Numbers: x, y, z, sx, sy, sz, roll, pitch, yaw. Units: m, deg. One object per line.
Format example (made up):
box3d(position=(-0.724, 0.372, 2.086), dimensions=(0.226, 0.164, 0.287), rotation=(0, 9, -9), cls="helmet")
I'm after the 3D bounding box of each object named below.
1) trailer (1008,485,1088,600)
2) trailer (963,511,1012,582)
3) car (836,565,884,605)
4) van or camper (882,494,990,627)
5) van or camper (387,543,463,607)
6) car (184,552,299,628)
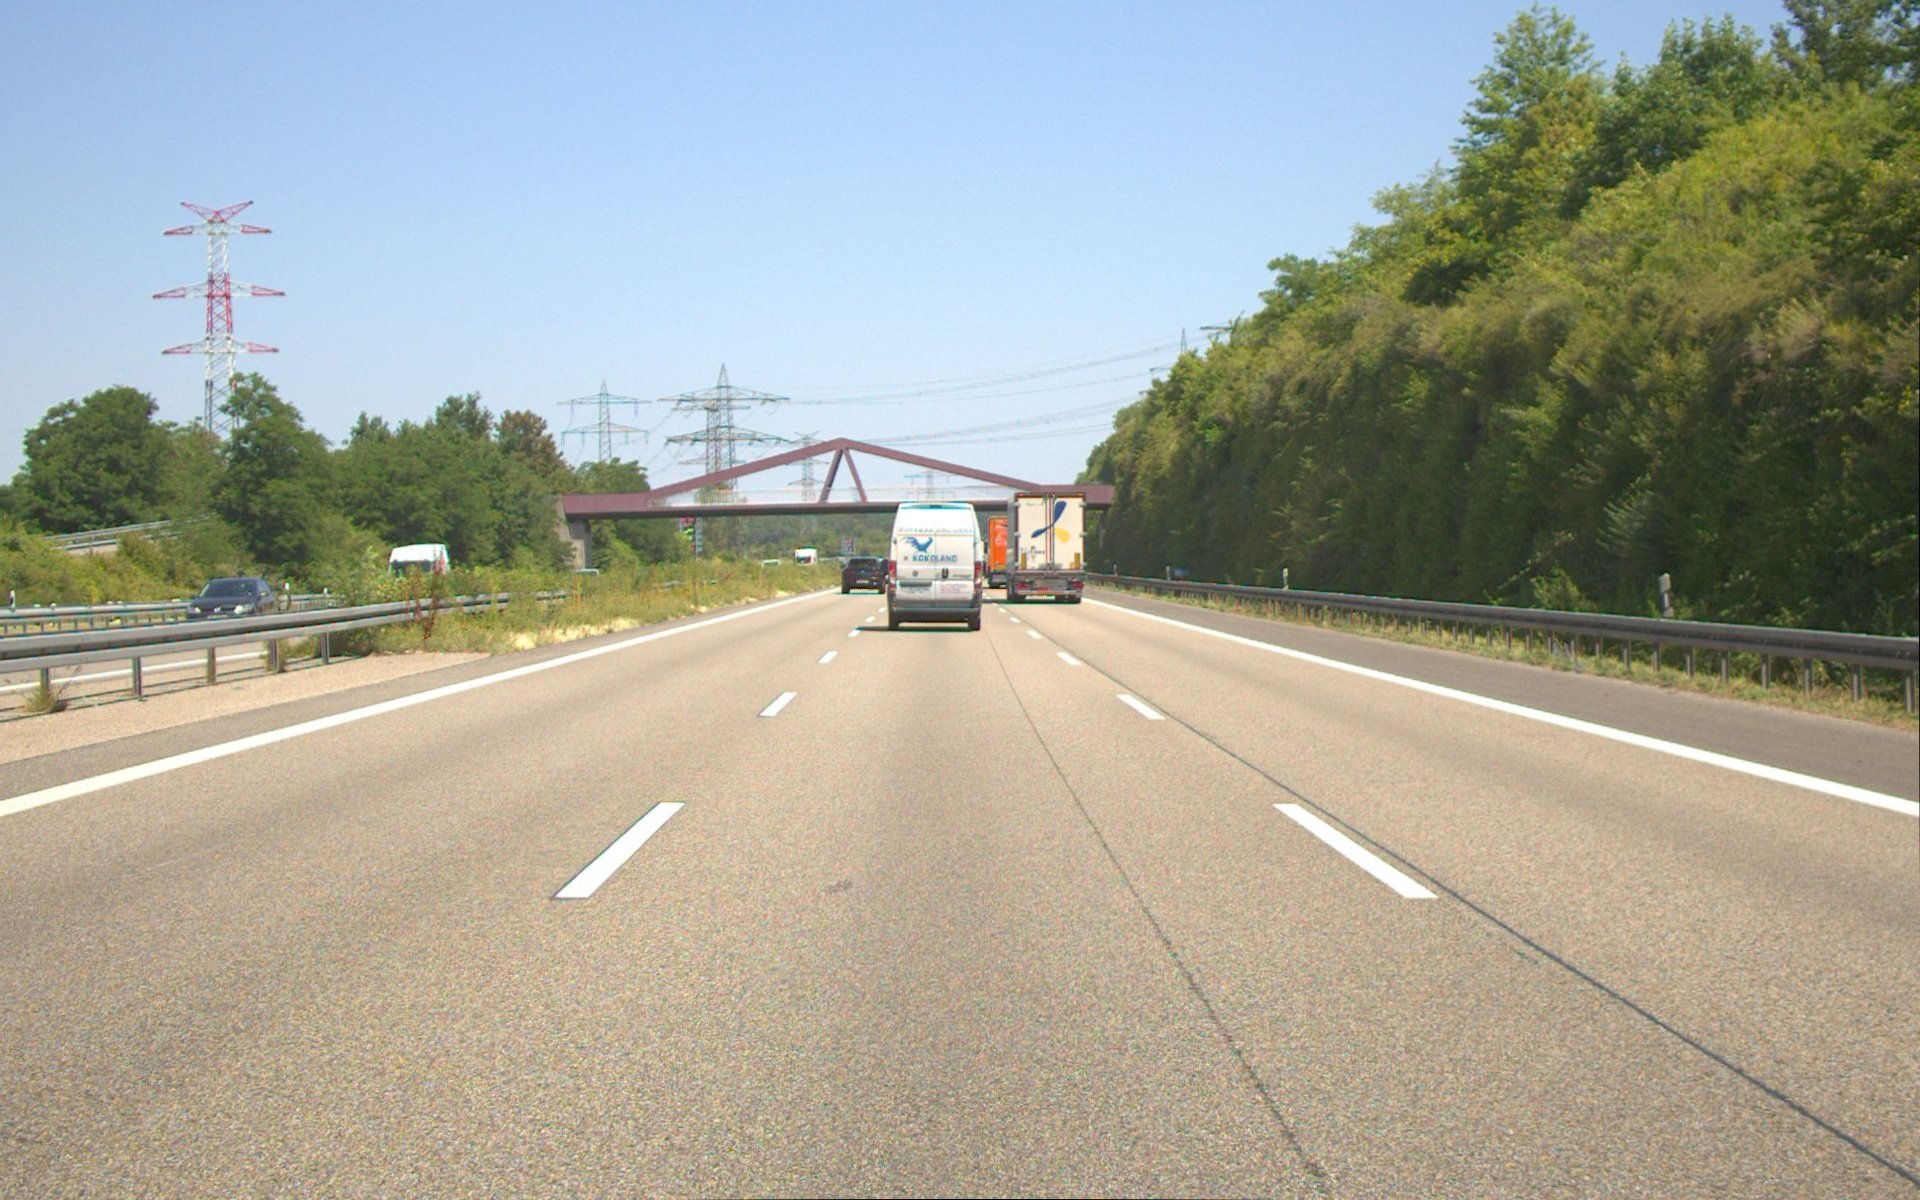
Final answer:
box3d(position=(3.249, -2.133, 129.671), dimensions=(2.637, 4.046, 12.366), rotation=(1, 1, 0), cls="trailer")
box3d(position=(1.547, -2.991, 194.136), dimensions=(2.637, 3.883, 7.069), rotation=(1, 1, 0), cls="trailer")
box3d(position=(-4.616, -0.714, 159.667), dimensions=(1.982, 1.811, 3.812), rotation=(1, 1, 1), cls="car")
box3d(position=(-0.544, -0.875, 76.097), dimensions=(2.230, 2.772, 5.423), rotation=(1, 1, -1), cls="van or camper")
box3d(position=(-21.735, -1.039, 139.875), dimensions=(2.059, 2.516, 6.390), rotation=(1, 1, 0), cls="van or camper")
box3d(position=(-18.047, -0.278, 86.558), dimensions=(1.953, 1.804, 5.048), rotation=(1, 1, -2), cls="car")
